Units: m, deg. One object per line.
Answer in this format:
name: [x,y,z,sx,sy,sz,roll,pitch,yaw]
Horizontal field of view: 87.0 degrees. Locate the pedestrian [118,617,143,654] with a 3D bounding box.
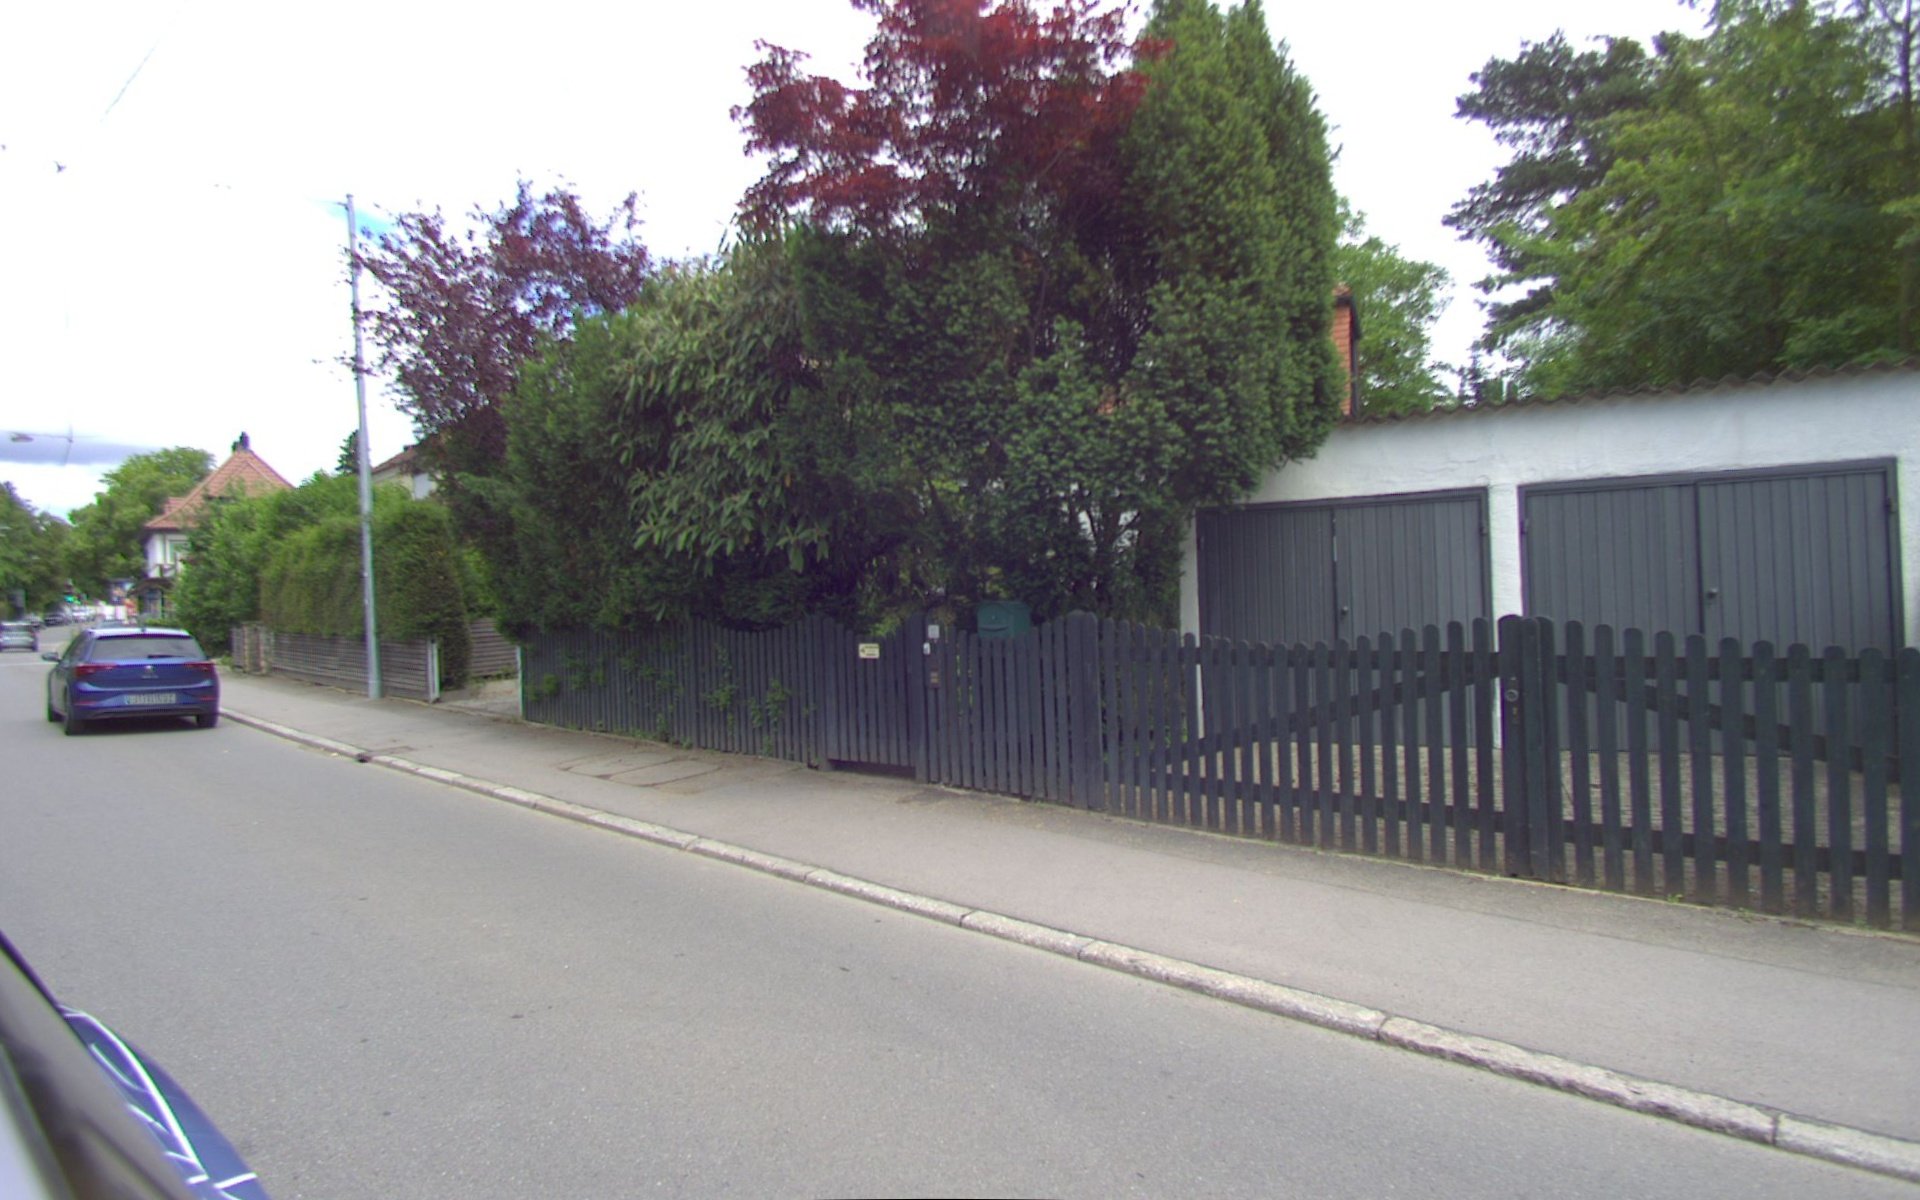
pedestrian: [-40.510,1.732,49.433,0.810,1.757,0.605,-5,2,-43]

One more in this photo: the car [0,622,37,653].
car: [-52.861,2.078,56.378,4.139,1.668,1.820,-1,-2,44]

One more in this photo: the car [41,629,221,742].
car: [-12.391,1.161,15.044,1.674,1.443,3.929,2,-2,-45]

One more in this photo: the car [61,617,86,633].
car: [-104.482,2.944,119.268,1.971,1.709,4.003,-5,3,-44]

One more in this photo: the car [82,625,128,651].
car: [-54.190,2.390,64.191,1.794,1.361,3.401,-4,2,-33]

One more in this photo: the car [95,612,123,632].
car: [-94.315,2.441,112.140,1.859,1.929,4.836,-7,4,-44]
